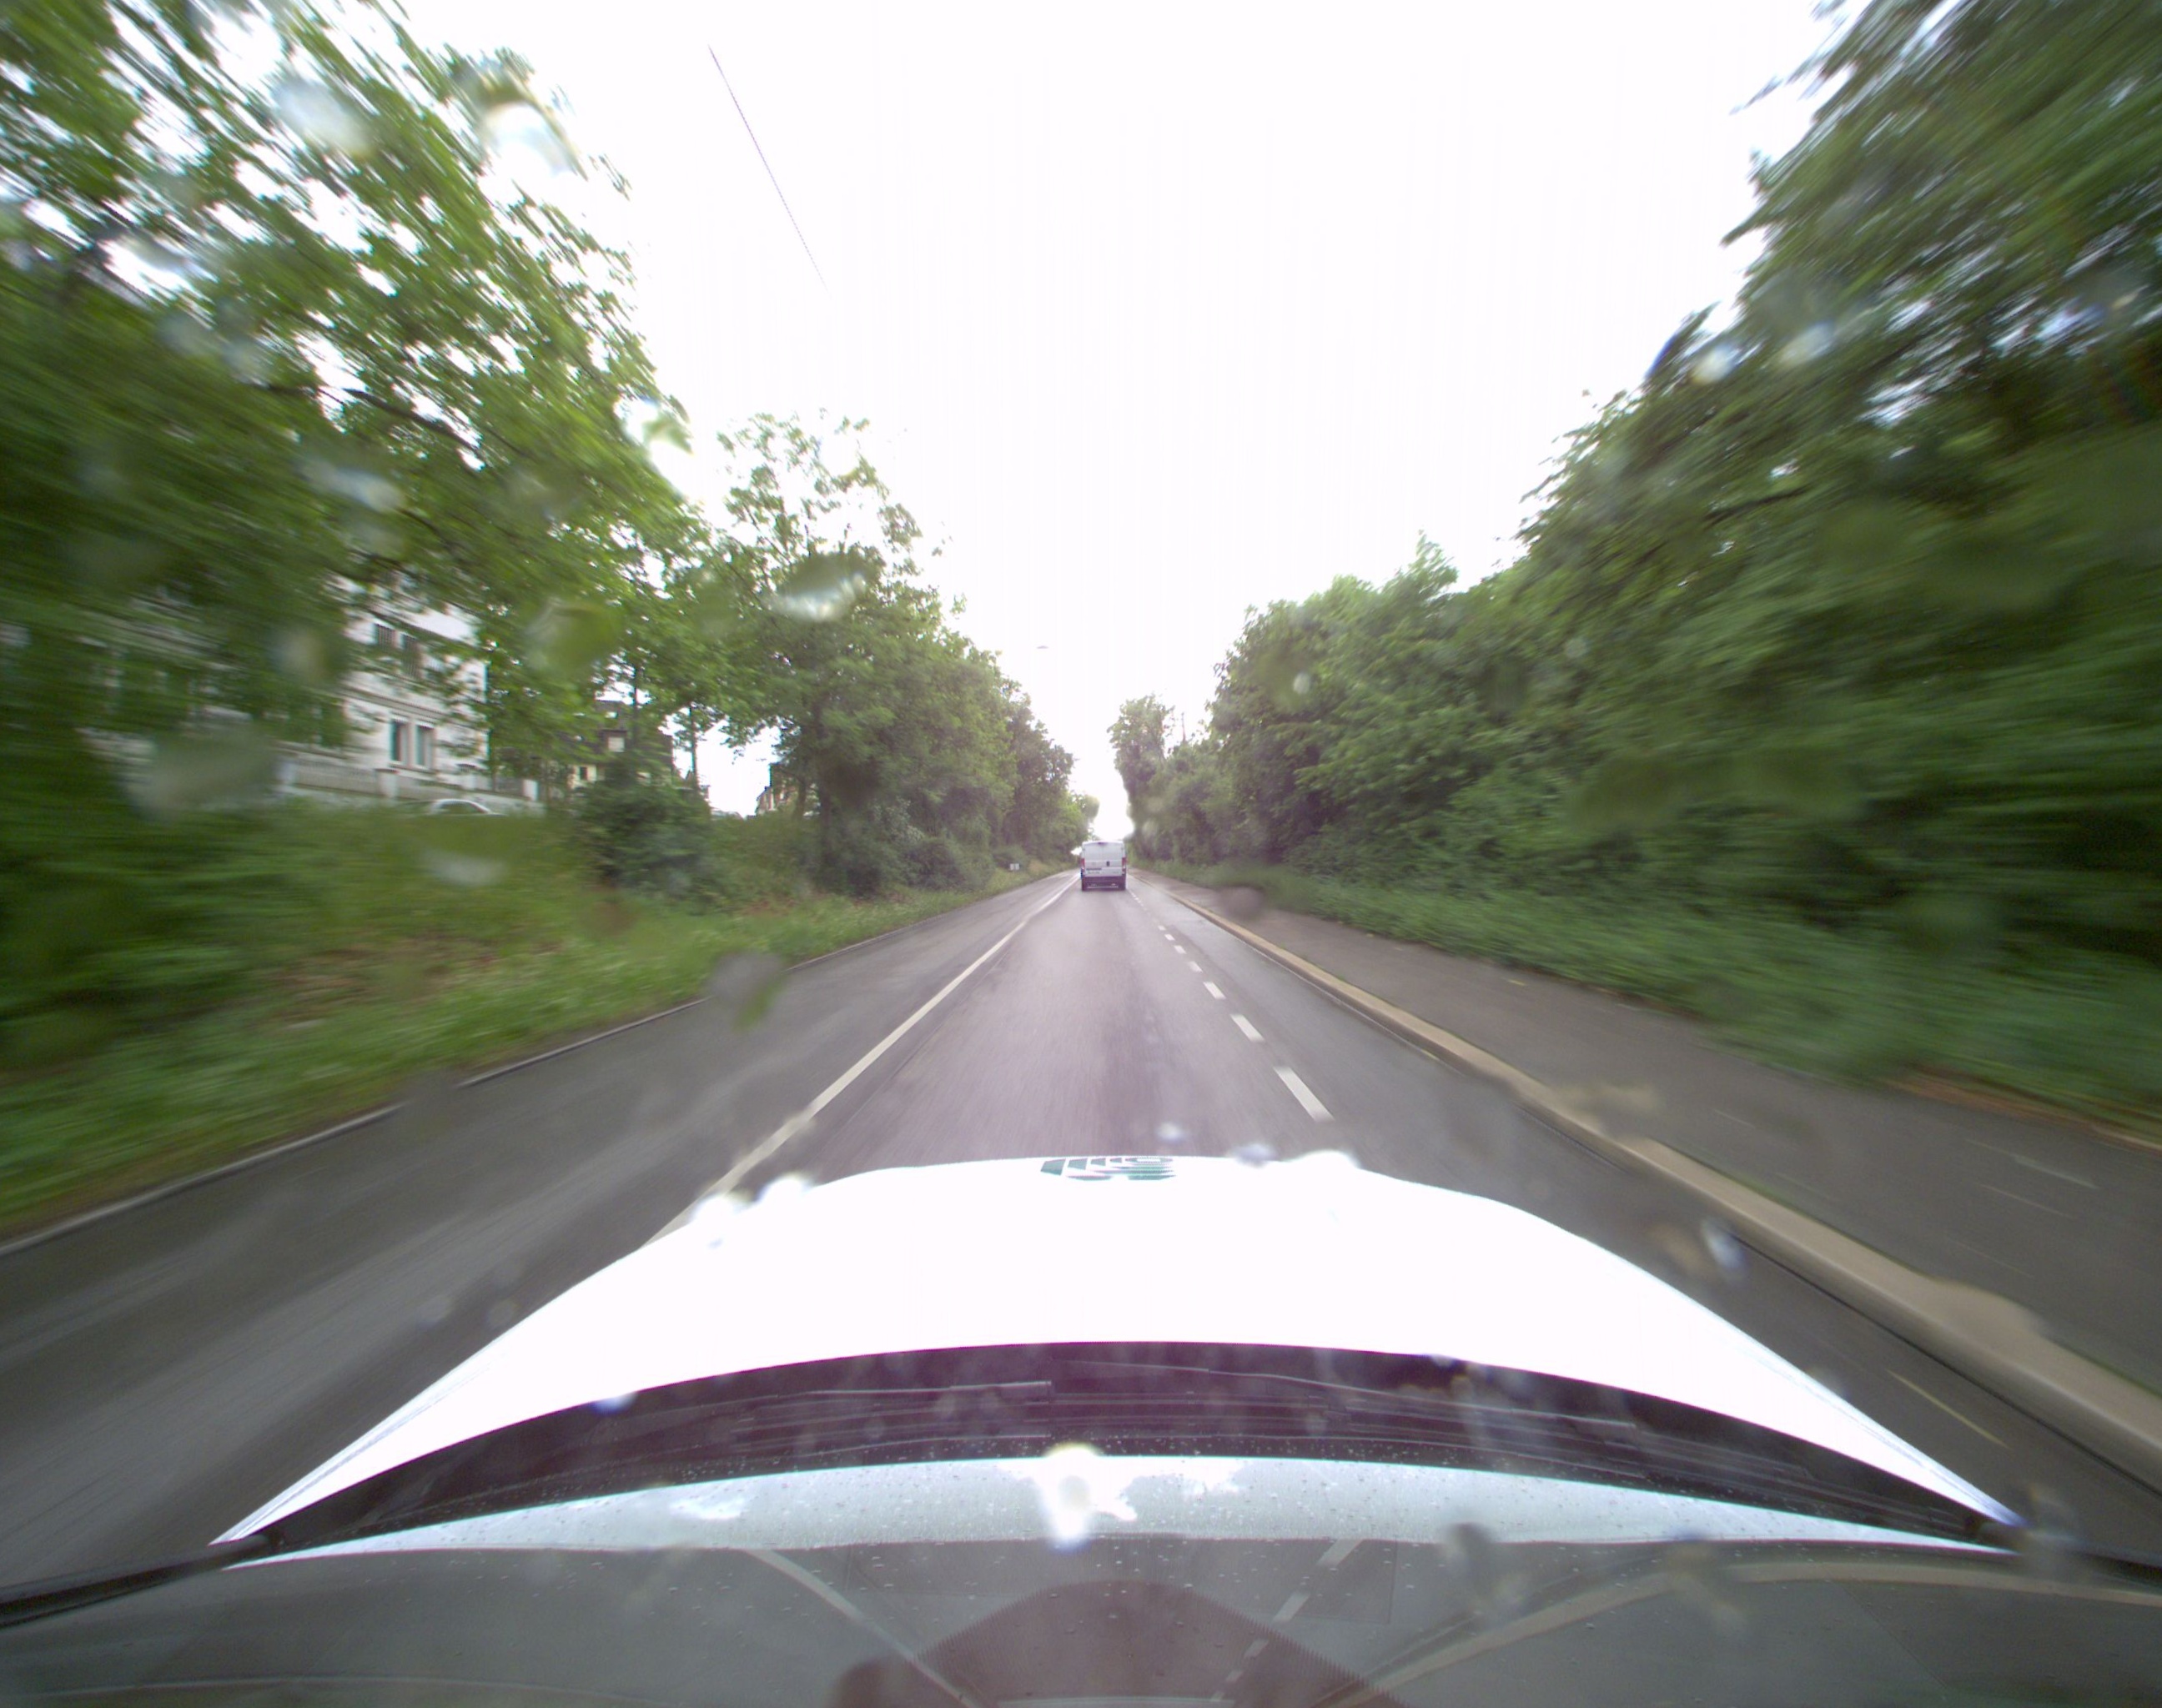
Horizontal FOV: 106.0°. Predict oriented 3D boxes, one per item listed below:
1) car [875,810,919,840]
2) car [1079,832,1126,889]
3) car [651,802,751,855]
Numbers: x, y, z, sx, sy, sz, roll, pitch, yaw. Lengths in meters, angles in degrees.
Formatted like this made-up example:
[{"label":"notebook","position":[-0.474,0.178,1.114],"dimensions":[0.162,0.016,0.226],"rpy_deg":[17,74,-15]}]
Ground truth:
[{"label":"car","position":[-11.054,-1.728,49.124],"dimensions":[1.745,1.662,3.445],"rpy_deg":[-3,2,1]},{"label":"car","position":[1.039,0.259,38.542],"dimensions":[2.042,2.516,4.946],"rpy_deg":[1,0,2]},{"label":"car","position":[-12.236,-0.782,26.441],"dimensions":[1.547,1.440,3.379],"rpy_deg":[-3,-2,1]}]
